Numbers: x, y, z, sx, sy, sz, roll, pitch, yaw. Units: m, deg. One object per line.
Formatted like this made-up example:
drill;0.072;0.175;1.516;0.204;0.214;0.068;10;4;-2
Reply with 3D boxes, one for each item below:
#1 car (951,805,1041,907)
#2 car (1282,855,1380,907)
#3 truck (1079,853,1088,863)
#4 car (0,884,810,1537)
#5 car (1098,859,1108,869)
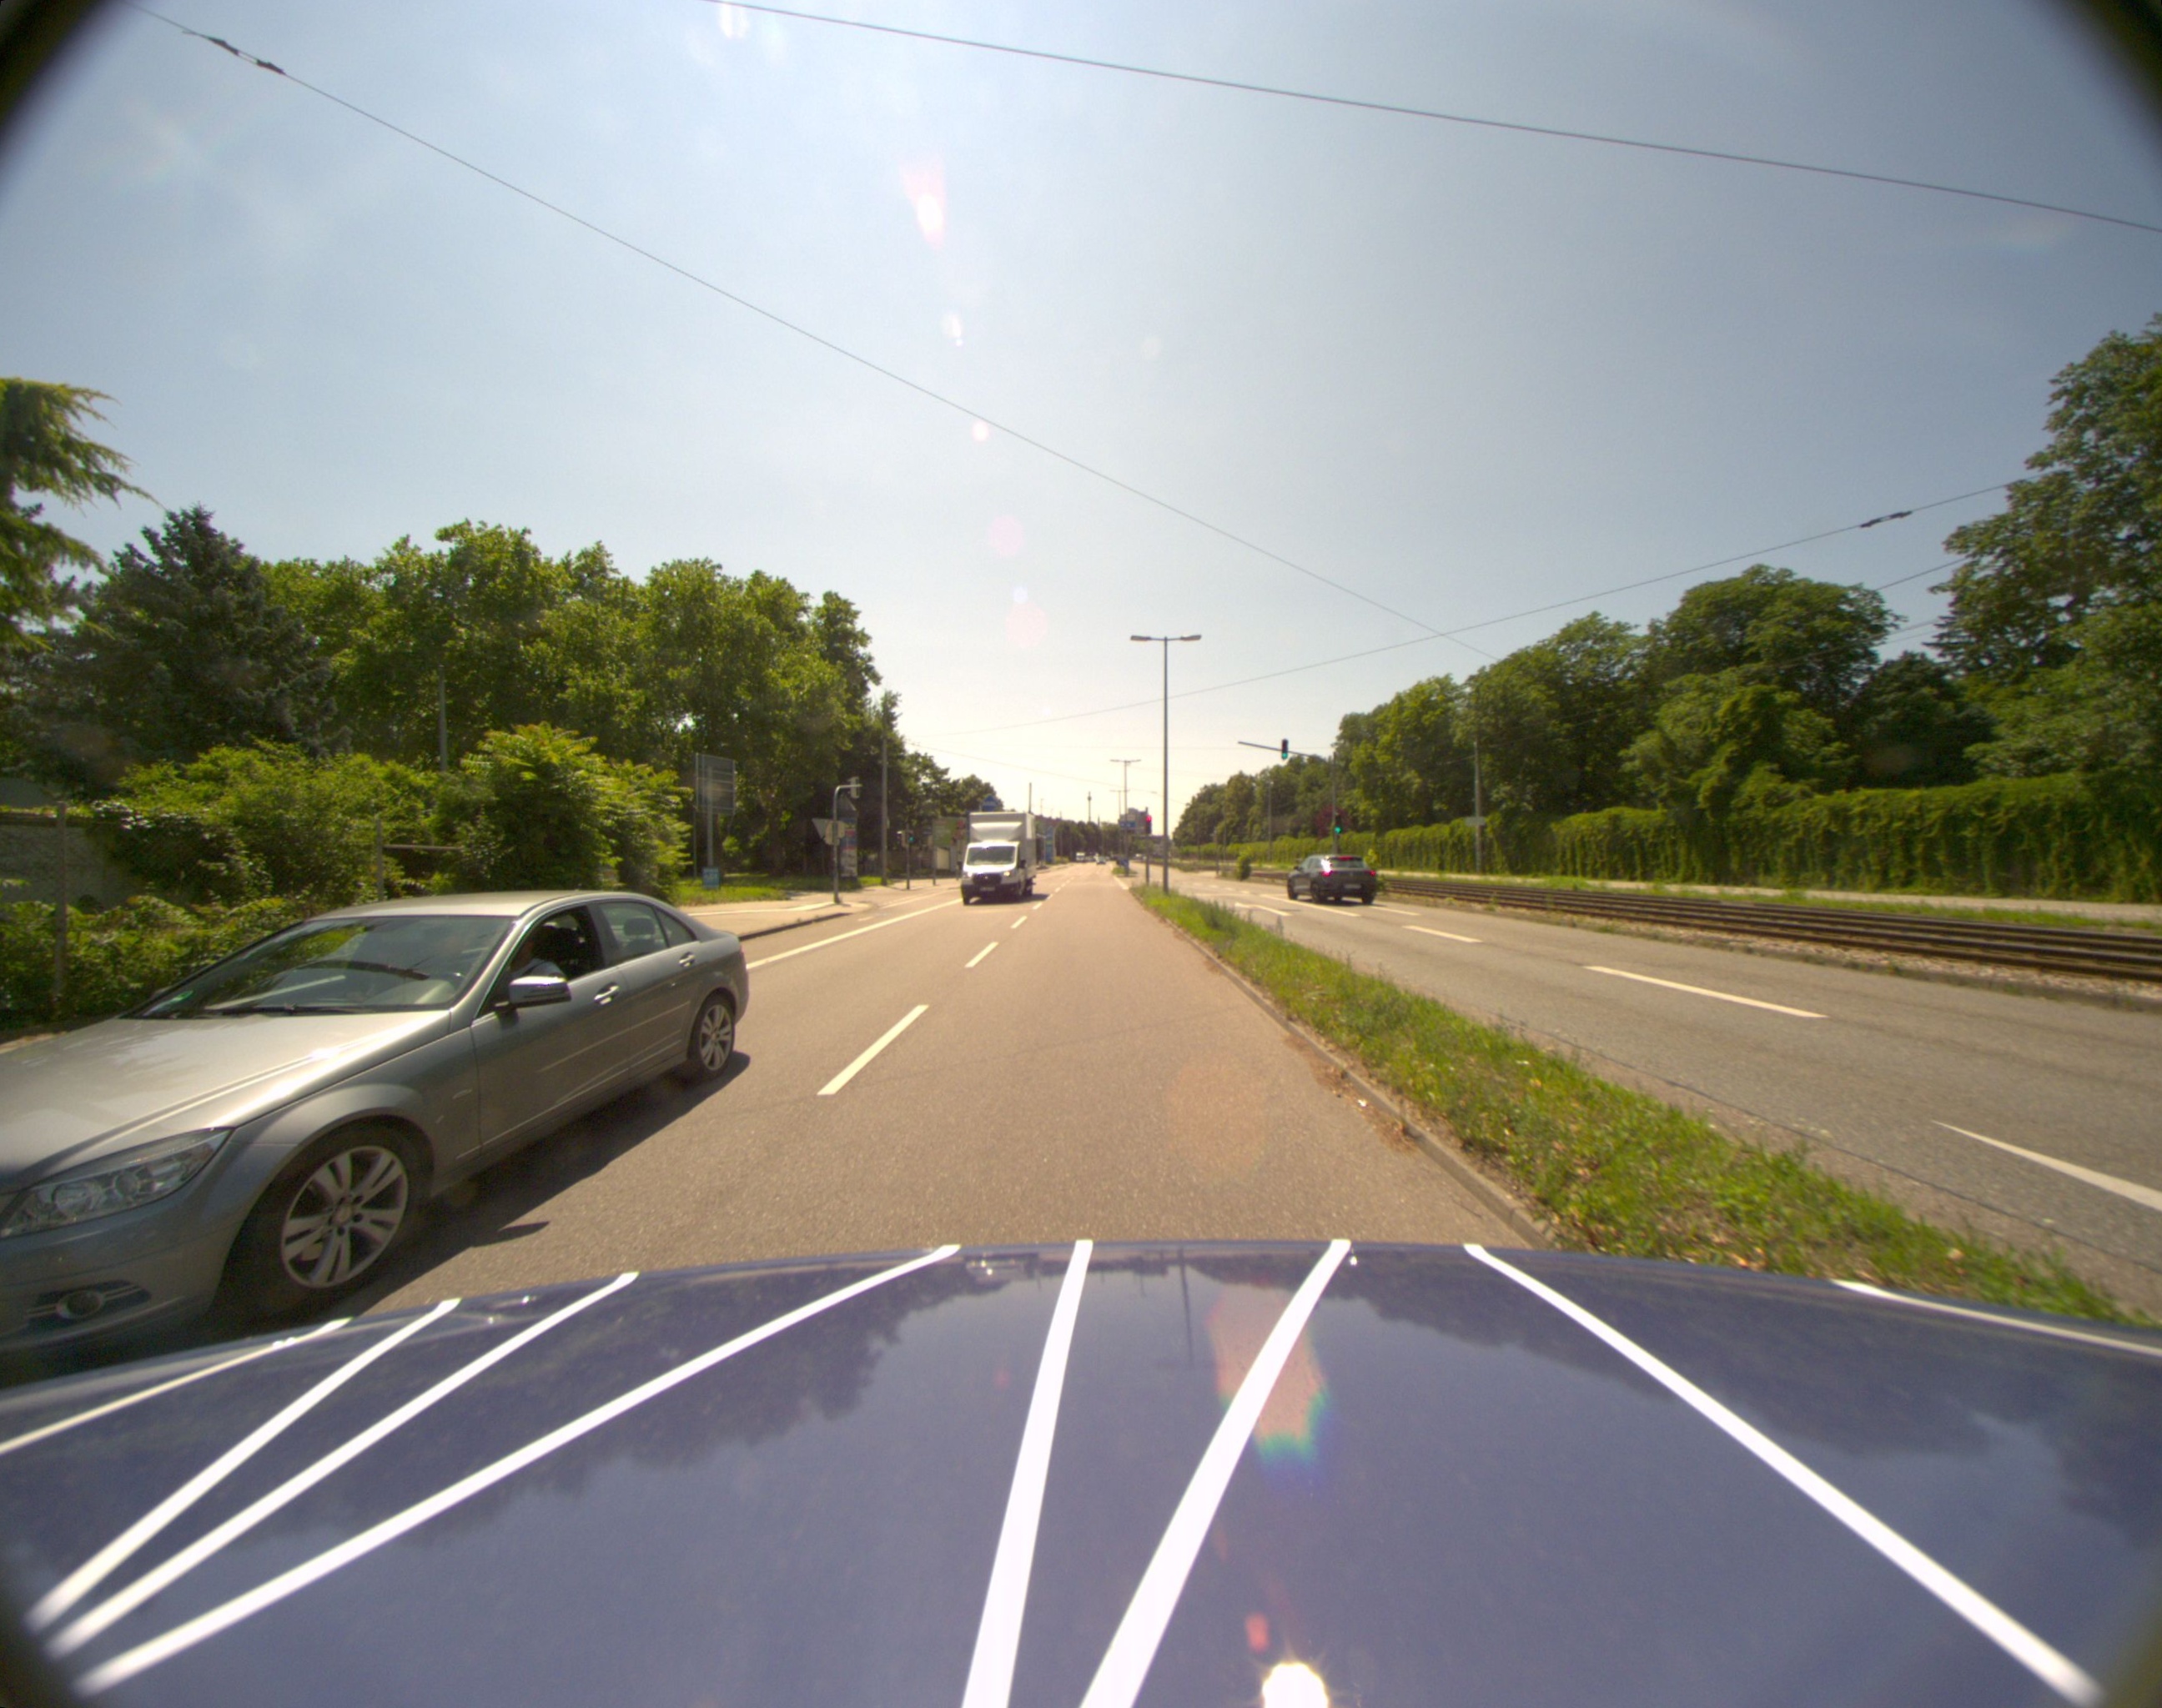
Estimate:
car;-3.072;0.075;29.680;2.229;3.316;8.636;-2;0;1
car;7.954;0.799;24.562;1.702;1.504;4.065;-1;0;-2
truck;0.603;0.927;188.127;1.998;2.461;5.237;-3;1;2
car;-3.525;1.041;4.502;1.717;1.464;5.302;-3;0;2
car;4.185;1.850;144.808;1.947;1.674;4.000;-3;1;1
